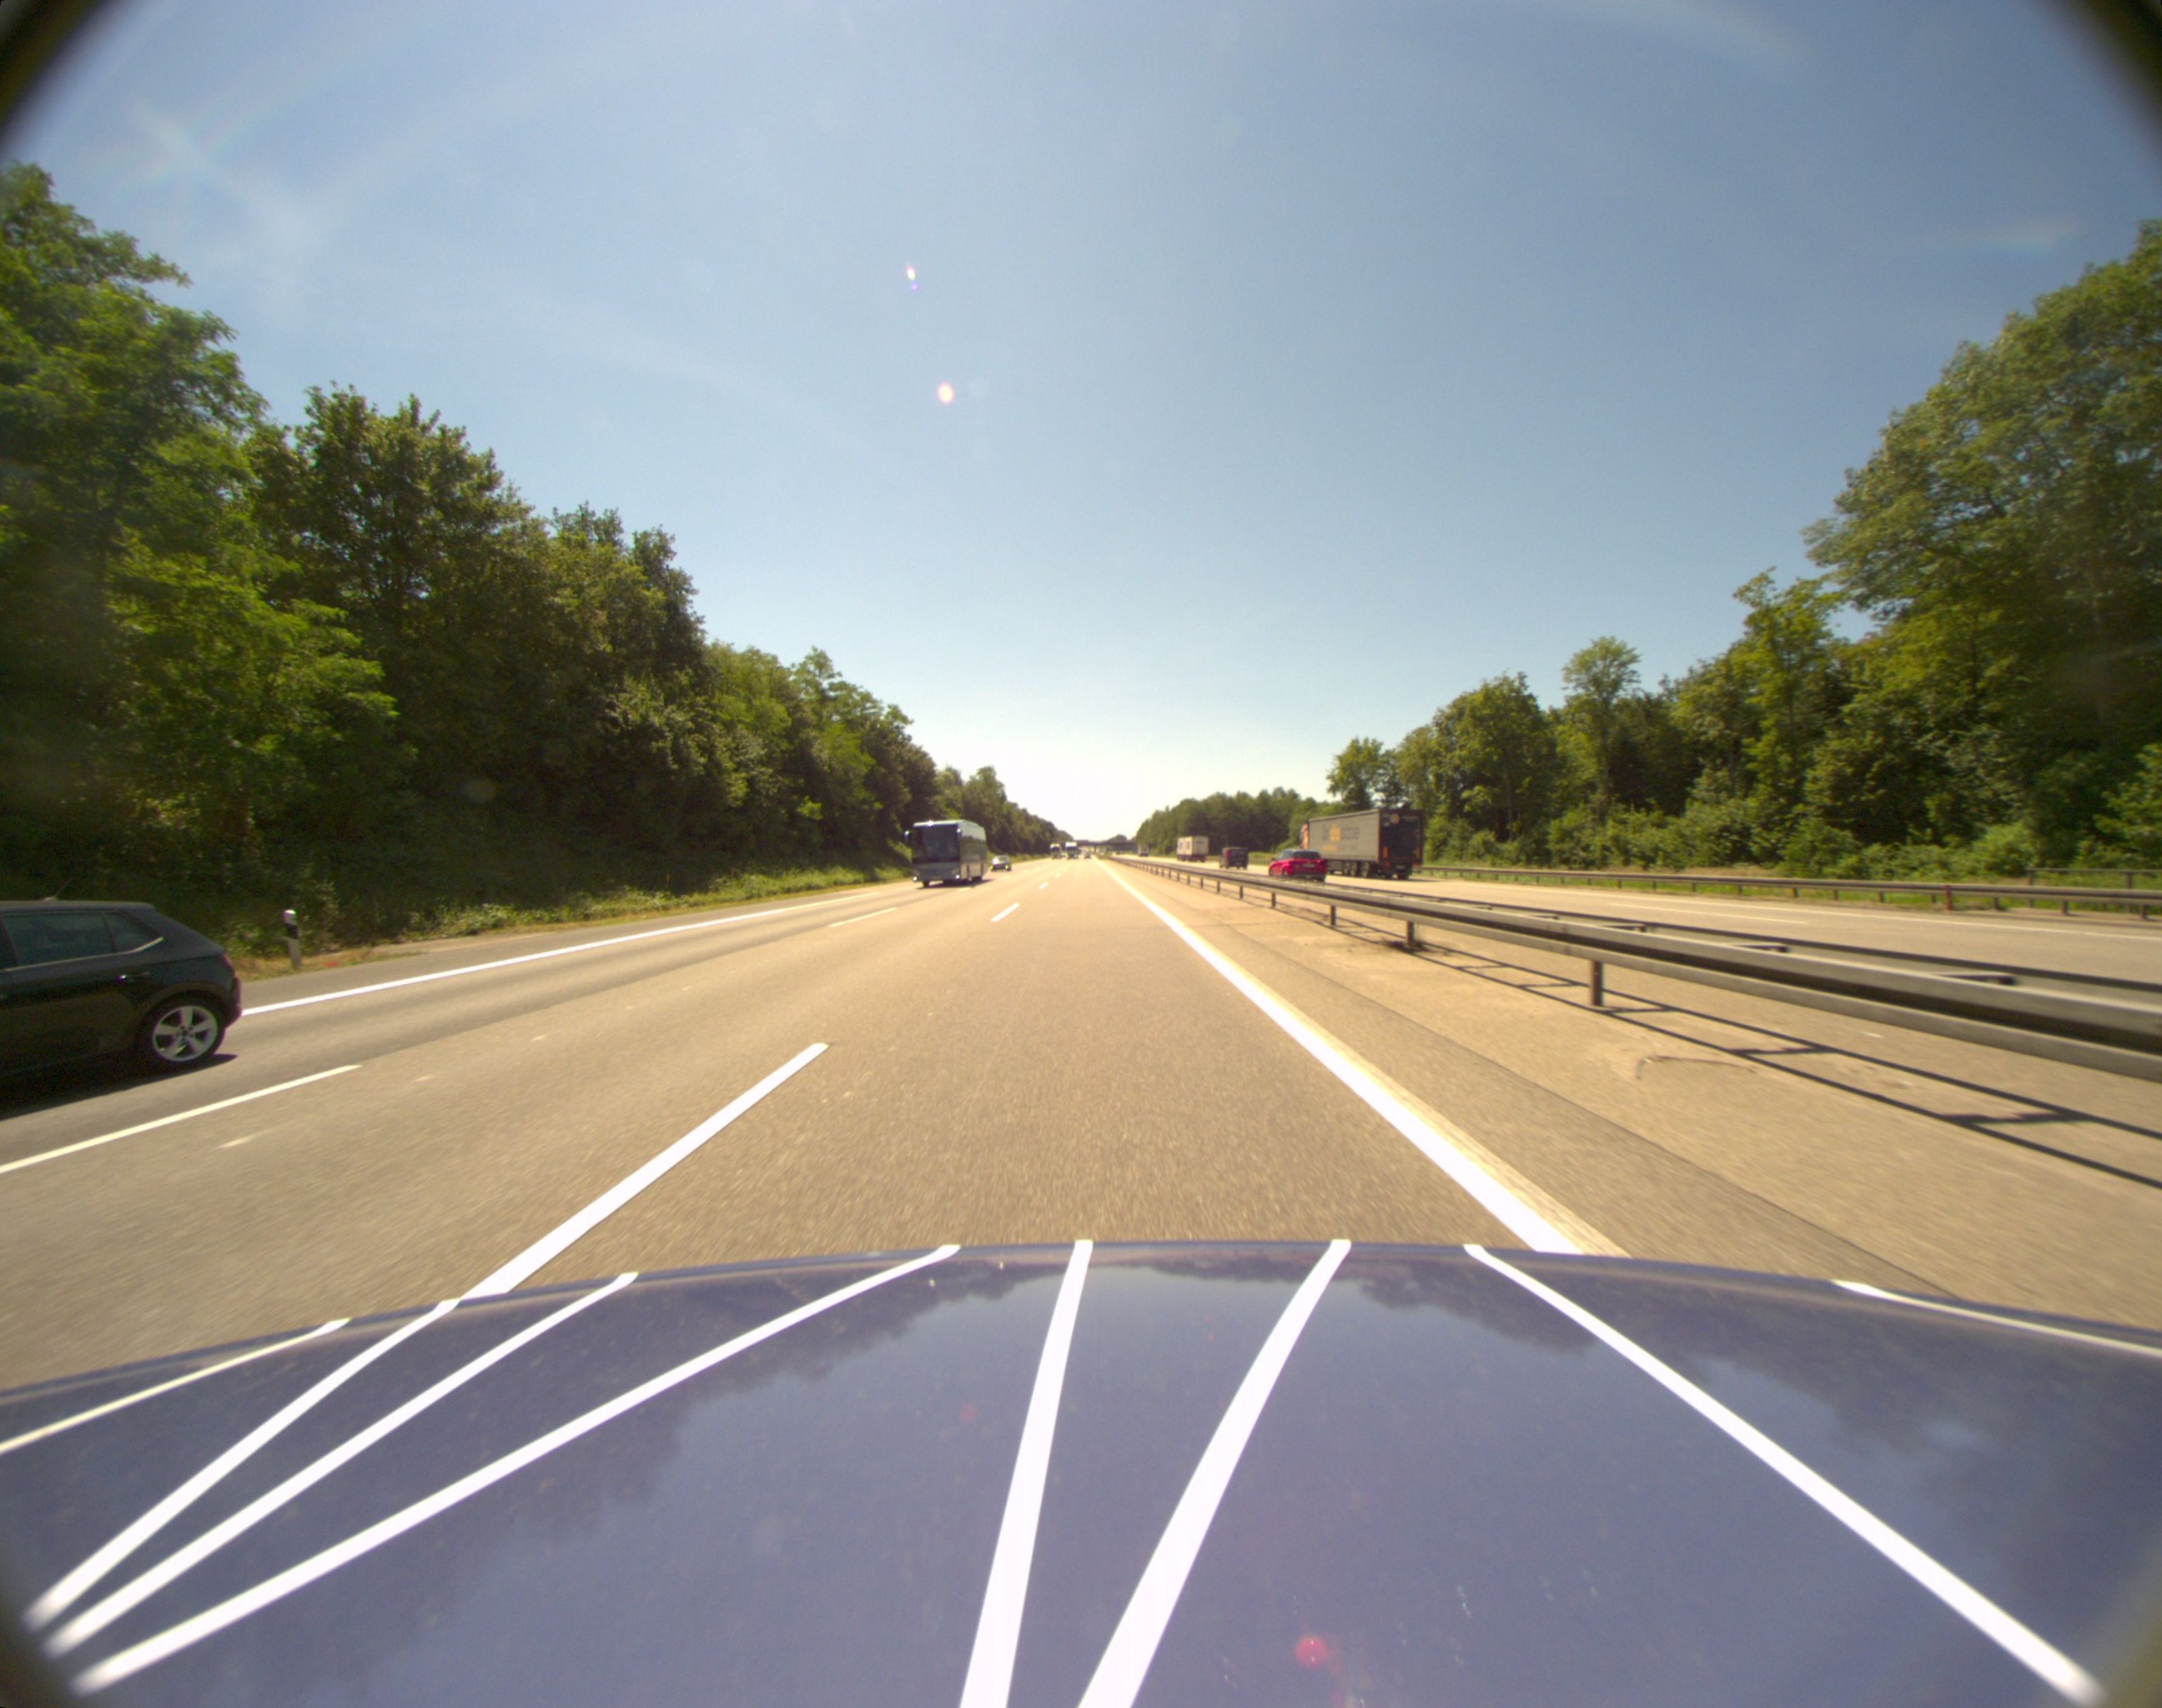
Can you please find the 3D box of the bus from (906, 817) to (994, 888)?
[{"bbox_3d":[-7.473,-0.192,45.602,2.617,3.532,13.680,-3,1,0],"label":"bus"}]

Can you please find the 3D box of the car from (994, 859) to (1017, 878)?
[{"bbox_3d":[-7.581,1.431,76.284,1.814,1.607,3.999,-2,1,1],"label":"car"}]

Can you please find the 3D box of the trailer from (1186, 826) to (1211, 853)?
[{"bbox_3d":[18.623,-2.294,121.054,2.585,3.967,8.558,-3,1,0],"label":"trailer"}]

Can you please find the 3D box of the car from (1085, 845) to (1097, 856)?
[{"bbox_3d":[2.375,-0.880,177.721,2.616,2.390,7.122,-3,1,0],"label":"car"}]

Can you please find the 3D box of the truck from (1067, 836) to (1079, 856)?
[{"bbox_3d":[-2.042,-2.064,189.645,2.616,4.639,10.959,-3,1,0],"label":"truck"}]

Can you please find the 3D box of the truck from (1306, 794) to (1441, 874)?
[{"bbox_3d":[18.319,-1.253,49.208,3.332,4.317,13.907,-3,1,0],"label":"truck"}]

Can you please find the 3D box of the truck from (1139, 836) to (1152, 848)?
[{"bbox_3d":[19.763,-3.704,234.502,3.002,3.598,10.268,-3,1,0],"label":"truck"}]

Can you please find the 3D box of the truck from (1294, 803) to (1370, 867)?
[{"bbox_3d":[18.351,-1.376,56.037,3.332,4.317,6.611,-3,1,0],"label":"truck"}]

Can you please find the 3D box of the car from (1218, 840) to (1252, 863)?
[{"bbox_3d":[13.869,-0.288,68.802,1.998,2.002,5.358,1,1,1],"label":"car"}]

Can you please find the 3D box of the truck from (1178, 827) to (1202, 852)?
[{"bbox_3d":[18.584,-2.503,130.517,2.587,3.985,10.336,-3,1,0],"label":"truck"}]

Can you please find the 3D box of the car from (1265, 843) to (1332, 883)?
[{"bbox_3d":[9.734,0.346,34.336,1.736,1.576,4.644,-3,1,2],"label":"car"}]

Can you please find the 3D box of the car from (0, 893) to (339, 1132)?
[{"bbox_3d":[-8.102,1.178,5.084,1.674,1.439,4.573,-3,1,0],"label":"car"}]

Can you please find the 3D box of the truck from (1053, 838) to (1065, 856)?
[{"bbox_3d":[-5.881,-1.934,207.090,2.616,4.639,10.959,-3,1,0],"label":"truck"}]
